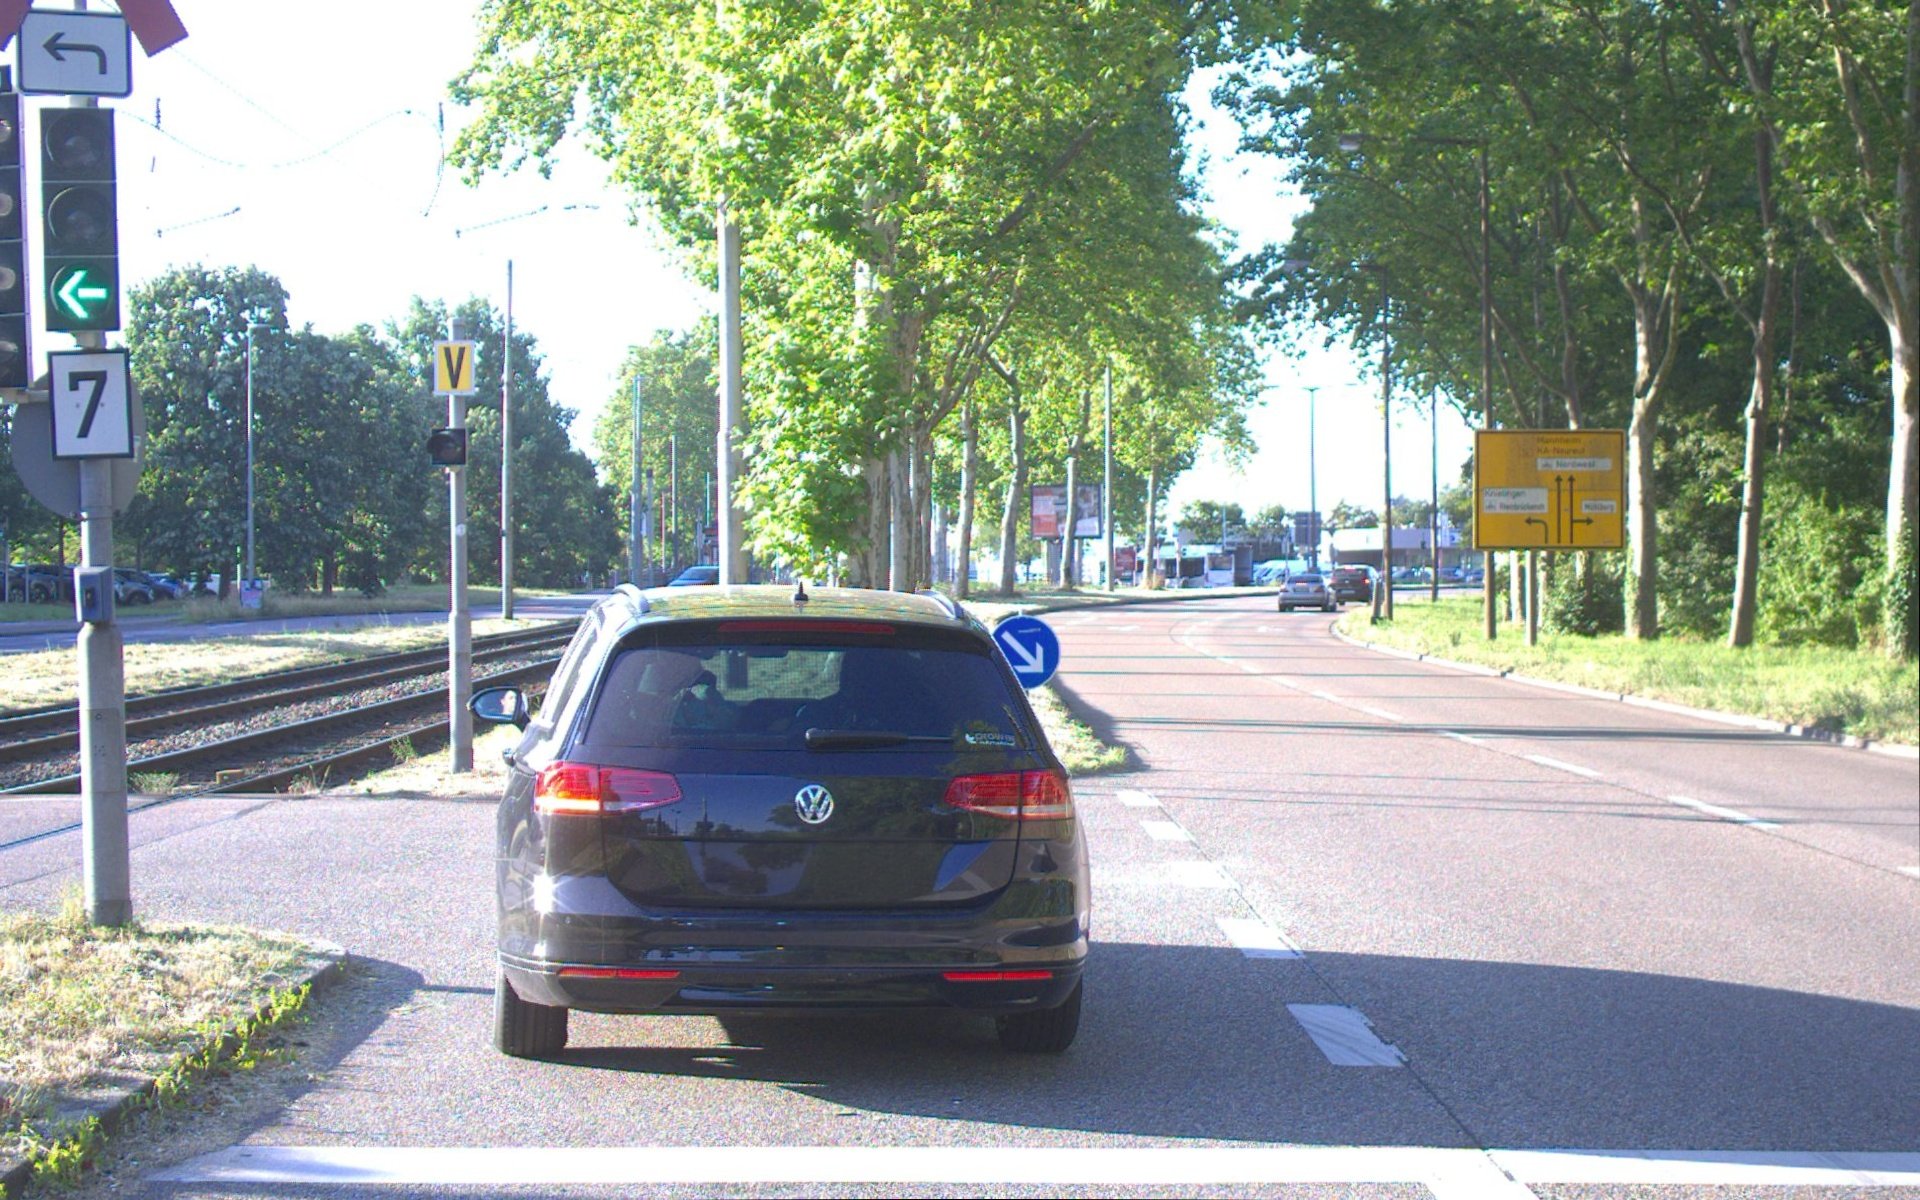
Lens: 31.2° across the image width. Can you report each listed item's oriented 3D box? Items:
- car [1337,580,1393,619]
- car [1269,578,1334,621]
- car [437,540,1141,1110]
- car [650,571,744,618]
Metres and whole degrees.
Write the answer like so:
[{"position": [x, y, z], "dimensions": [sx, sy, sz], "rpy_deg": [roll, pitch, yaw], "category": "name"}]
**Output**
[{"position": [15.282, -0.030, 129.597], "dimensions": [1.994, 1.435, 3.999], "rpy_deg": [1, 0, 8], "category": "car"}, {"position": [11.898, -0.014, 119.710], "dimensions": [1.994, 1.437, 3.998], "rpy_deg": [1, 0, 9], "category": "car"}, {"position": [-0.776, 0.621, 11.614], "dimensions": [1.824, 1.550, 4.260], "rpy_deg": [1, 0, -10], "category": "car"}, {"position": [-9.649, -0.199, 126.347], "dimensions": [1.811, 1.678, 3.995], "rpy_deg": [1, 0, 23], "category": "car"}]
